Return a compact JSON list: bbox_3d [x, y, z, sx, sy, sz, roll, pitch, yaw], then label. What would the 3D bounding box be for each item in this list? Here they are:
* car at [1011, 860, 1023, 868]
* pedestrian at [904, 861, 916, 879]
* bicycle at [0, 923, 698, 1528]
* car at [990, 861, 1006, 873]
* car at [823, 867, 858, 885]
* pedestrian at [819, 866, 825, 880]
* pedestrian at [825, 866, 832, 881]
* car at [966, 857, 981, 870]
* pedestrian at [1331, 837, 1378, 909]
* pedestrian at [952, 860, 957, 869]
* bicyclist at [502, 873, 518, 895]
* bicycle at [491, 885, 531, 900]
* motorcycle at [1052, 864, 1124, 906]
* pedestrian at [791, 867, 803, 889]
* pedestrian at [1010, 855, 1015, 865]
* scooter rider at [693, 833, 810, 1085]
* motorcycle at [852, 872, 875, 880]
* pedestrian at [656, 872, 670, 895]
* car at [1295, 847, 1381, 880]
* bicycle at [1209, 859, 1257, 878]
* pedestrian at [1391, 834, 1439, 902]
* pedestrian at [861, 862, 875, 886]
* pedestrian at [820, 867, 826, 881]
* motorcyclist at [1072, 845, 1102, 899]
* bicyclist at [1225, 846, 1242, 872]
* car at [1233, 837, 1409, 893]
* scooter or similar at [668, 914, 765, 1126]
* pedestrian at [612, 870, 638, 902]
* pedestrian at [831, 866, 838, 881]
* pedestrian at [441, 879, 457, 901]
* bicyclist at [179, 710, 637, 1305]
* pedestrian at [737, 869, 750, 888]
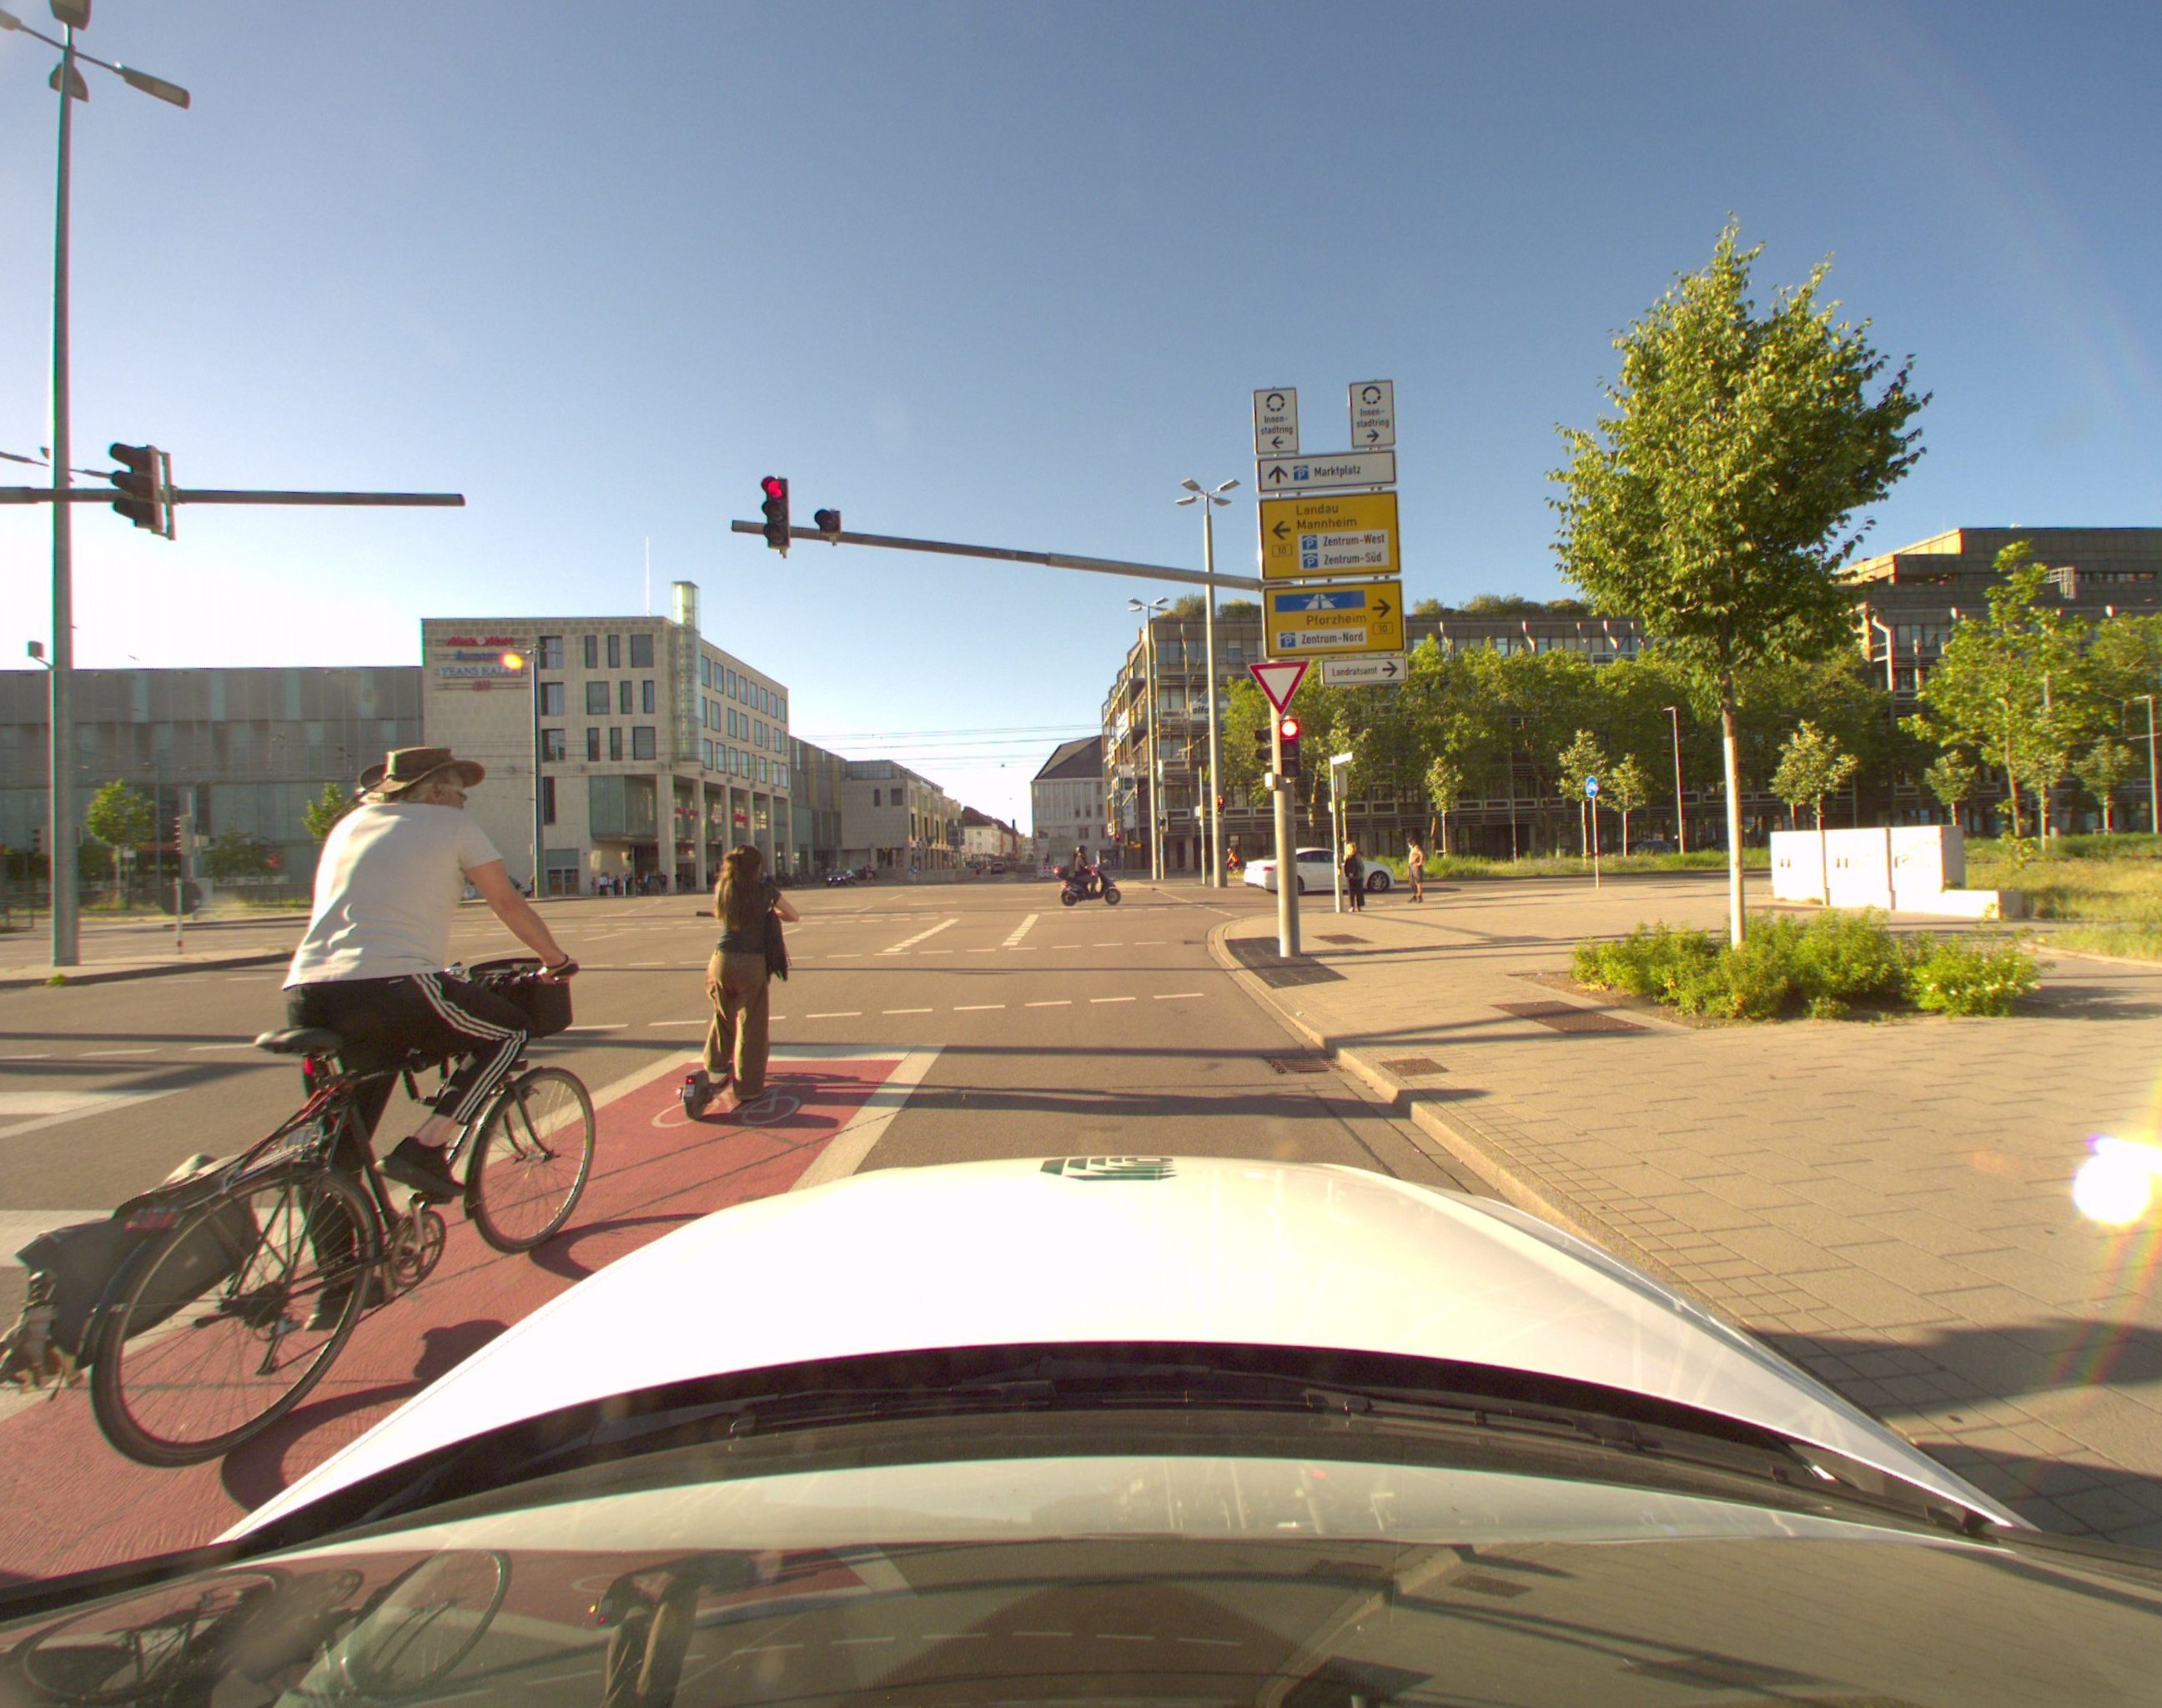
[{"bbox_3d":[-11.472,1.807,146.343,1.652,1.458,3.543,-2,0,2],"label":"car"},{"bbox_3d":[-16.801,1.562,80.129,0.896,1.782,0.809,-2,0,1],"label":"pedestrian"},{"bbox_3d":[-2.138,0.893,2.726,0.736,1.147,1.891,-2,0,2],"label":"bicycle"},{"bbox_3d":[-11.016,1.751,108.534,1.652,1.458,3.543,-2,0,2],"label":"car"},{"bbox_3d":[-20.771,1.892,70.466,1.670,1.357,4.021,-2,0,1],"label":"car"},{"bbox_3d":[-32.011,2.403,100.748,0.465,1.729,0.524,-1,-1,40],"label":"pedestrian"},{"bbox_3d":[-30.828,2.383,99.382,0.465,1.729,0.632,-1,-1,35],"label":"pedestrian"},{"bbox_3d":[-14.278,1.277,108.130,1.817,1.684,3.993,-2,0,-5],"label":"car"},{"bbox_3d":[6.343,0.430,18.908,0.763,1.614,0.874,-2,0,0],"label":"pedestrian"},{"bbox_3d":[-22.126,1.872,142.436,0.678,1.598,0.841,-2,0,11],"label":"pedestrian"},{"bbox_3d":[-38.450,2.031,54.863,0.585,1.448,0.628,-2,0,0],"label":"bicyclist"},{"bbox_3d":[-38.389,2.590,54.849,2.204,0.903,0.637,-2,0,-1],"label":"bicycle"},{"bbox_3d":[0.200,0.871,23.135,1.952,1.100,0.648,-2,0,-6],"label":"motorcycle"},{"bbox_3d":[-22.403,1.880,64.243,0.697,1.688,0.620,-2,0,2],"label":"pedestrian"},{"bbox_3d":[-13.903,1.193,165.268,0.907,1.965,0.823,0,-1,1],"label":"pedestrian"},{"bbox_3d":[-2.105,0.642,5.243,0.552,1.530,0.448,-2,0,-7],"label":"scooter rider"},{"bbox_3d":[-26.389,2.686,98.915,2.600,0.993,1.113,0,-1,-8],"label":"motorcycle"},{"bbox_3d":[-30.708,2.139,59.823,0.590,1.646,0.629,-2,0,1],"label":"pedestrian"},{"bbox_3d":[14.548,0.527,46.223,4.287,1.684,1.820,-2,0,-9],"label":"car"},{"bbox_3d":[8.748,0.816,47.063,2.561,0.975,1.047,-2,0,-1],"label":"bicycle"},{"bbox_3d":[8.619,0.356,21.025,0.869,1.706,0.768,-2,0,0],"label":"pedestrian"},{"bbox_3d":[-16.749,1.551,64.037,0.935,1.864,0.541,-2,0,18],"label":"pedestrian"},{"bbox_3d":[-32.288,2.531,101.991,0.465,1.729,0.524,-1,-1,40],"label":"pedestrian"},{"bbox_3d":[0.167,0.502,23.117,0.748,1.479,0.598,-2,0,-6],"label":"motorcyclist"},{"bbox_3d":[8.825,0.305,47.078,0.820,1.474,0.652,-2,0,-2],"label":"bicyclist"},{"bbox_3d":[7.688,0.346,26.262,5.082,1.564,1.994,-2,0,-10],"label":"car"},{"bbox_3d":[-2.193,0.954,4.962,0.306,1.107,0.835,-2,0,-9],"label":"scooter or similar"},{"bbox_3d":[-25.119,1.764,44.916,0.821,1.675,1.004,-2,0,-2],"label":"pedestrian"},{"bbox_3d":[-30.262,2.384,100.043,0.465,1.729,0.699,-1,-1,40],"label":"pedestrian"},{"bbox_3d":[-45.303,2.565,58.370,0.590,1.541,0.629,-2,0,1],"label":"pedestrian"},{"bbox_3d":[-2.189,0.445,2.788,0.802,1.700,0.852,-2,0,1],"label":"bicyclist"},{"bbox_3d":[-29.706,2.181,71.756,0.770,1.638,0.629,-2,0,18],"label":"pedestrian"}]
